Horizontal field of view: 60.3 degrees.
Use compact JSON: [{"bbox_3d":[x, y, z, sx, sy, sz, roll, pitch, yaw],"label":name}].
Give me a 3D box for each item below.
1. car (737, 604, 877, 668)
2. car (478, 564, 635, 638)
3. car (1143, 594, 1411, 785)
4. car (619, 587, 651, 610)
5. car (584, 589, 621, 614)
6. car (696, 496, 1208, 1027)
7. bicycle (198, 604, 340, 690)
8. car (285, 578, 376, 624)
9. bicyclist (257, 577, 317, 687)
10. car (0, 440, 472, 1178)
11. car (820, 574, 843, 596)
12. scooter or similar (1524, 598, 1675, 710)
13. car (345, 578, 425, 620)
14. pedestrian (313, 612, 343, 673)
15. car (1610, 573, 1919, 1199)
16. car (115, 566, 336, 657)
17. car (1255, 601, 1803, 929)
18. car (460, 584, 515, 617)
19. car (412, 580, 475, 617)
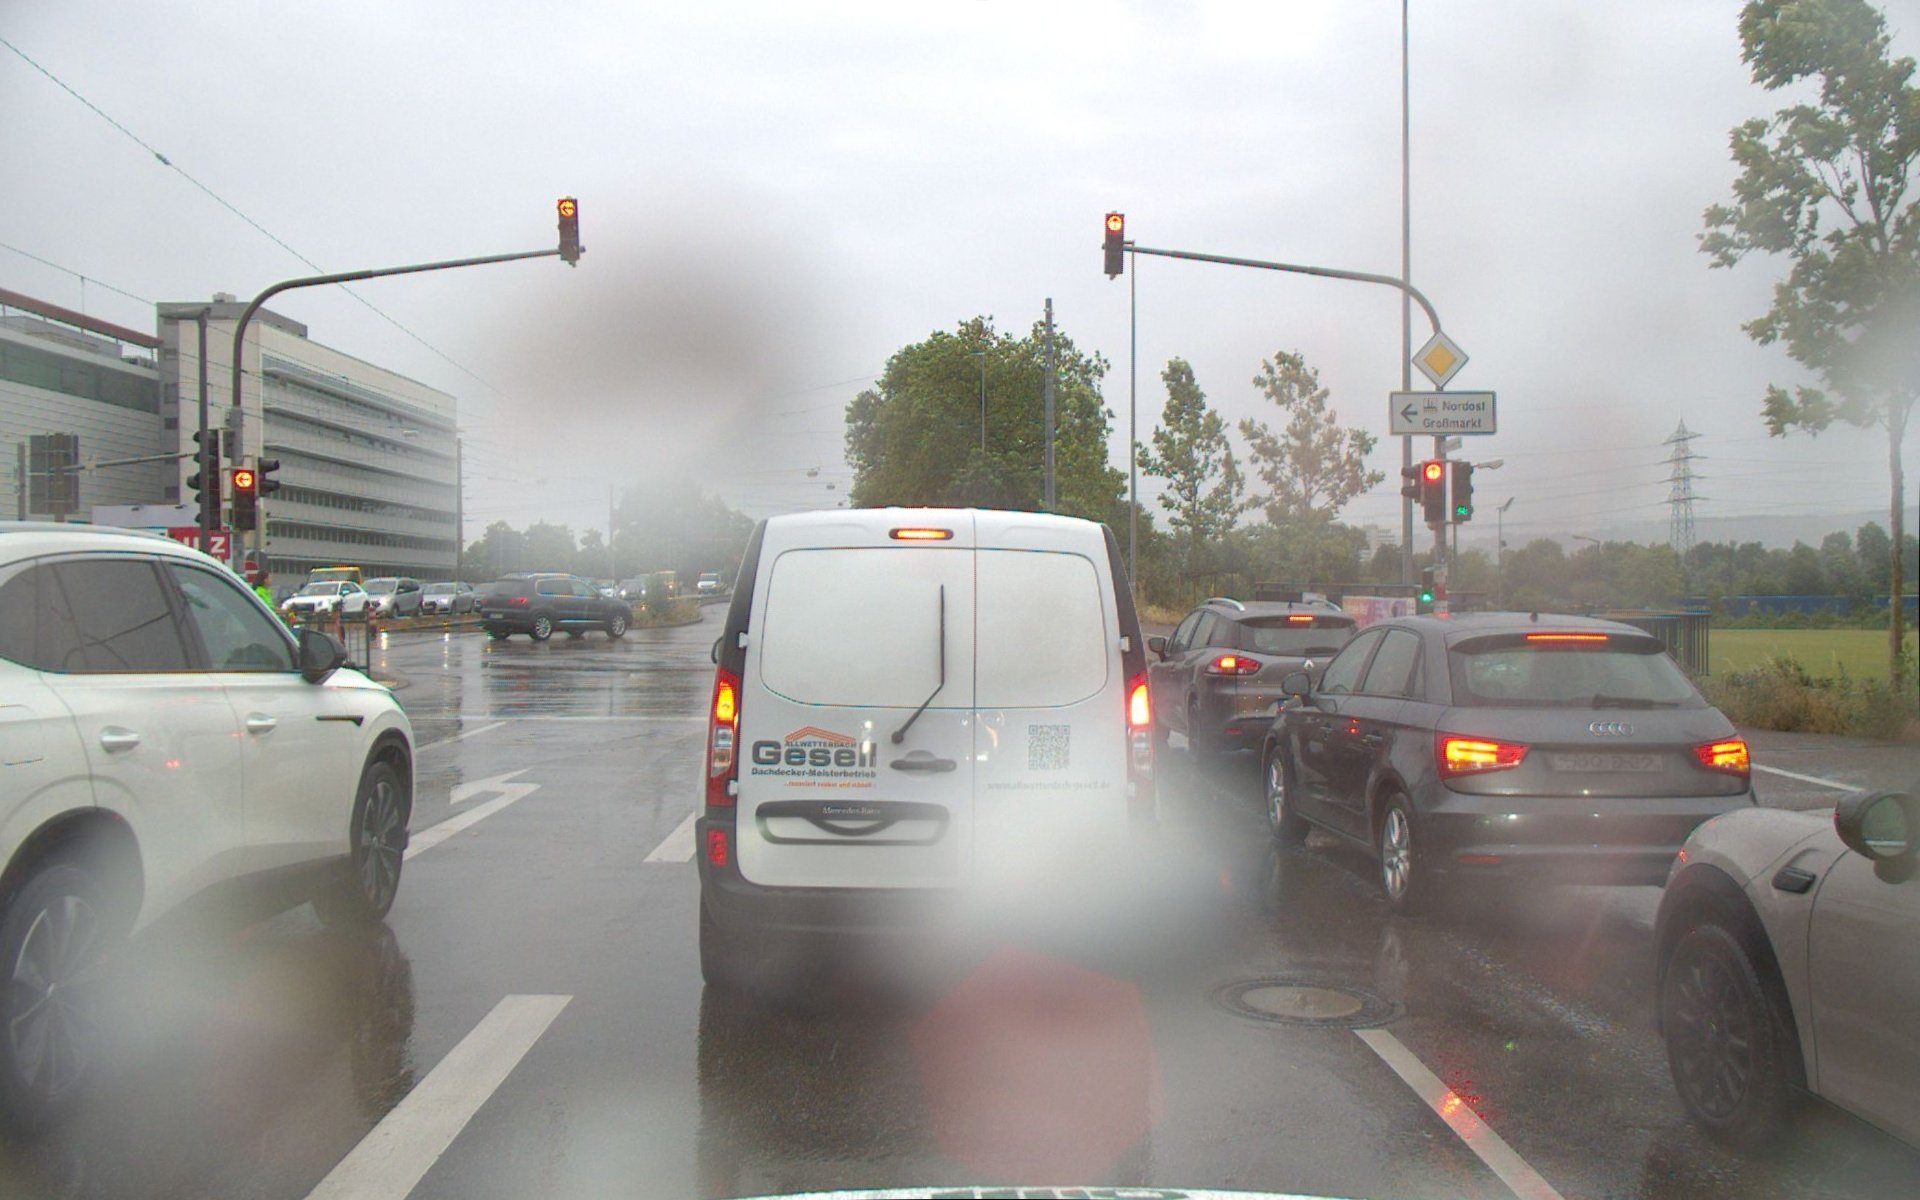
[{"bbox_3d":[-3.742,0.909,40.982,1.502,1.422,3.790,4,0,29],"label":"car"},{"bbox_3d":[-10.429,0.055,42.951,1.672,1.703,3.785,4,0,33],"label":"car"},{"bbox_3d":[2.827,0.738,15.573,1.650,1.534,3.919,1,0,-2],"label":"car"},{"bbox_3d":[-22.144,-0.071,112.795,1.528,1.451,3.568,2,-1,-1],"label":"car"},{"bbox_3d":[-21.924,0.105,101.508,1.528,1.451,3.568,2,-1,-1],"label":"car"},{"bbox_3d":[-0.166,0.518,7.690,1.719,1.780,4.166,1,1,-4],"label":"car"},{"bbox_3d":[-9.640,0.653,23.124,1.745,1.157,0.512,1,0,-43],"label":"bicycle"},{"bbox_3d":[-21.583,0.050,56.846,1.676,1.451,3.808,2,-1,-1],"label":"car"},{"bbox_3d":[-9.473,0.441,23.291,0.600,1.517,0.591,2,0,-41],"label":"bicyclist"},{"bbox_3d":[-3.309,0.494,5.706,1.891,1.806,4.663,1,0,-1],"label":"car"},{"bbox_3d":[-11.186,-1.285,144.338,1.909,1.691,4.460,2,-1,-4],"label":"car"},{"bbox_3d":[7.641,0.601,19.941,0.676,1.232,3.020,0,0,0],"label":"scooter or similar"},{"bbox_3d":[-21.761,-0.014,62.749,1.676,1.451,3.808,2,-1,-1],"label":"car"},{"bbox_3d":[-9.693,0.644,25.368,0.309,0.913,0.380,2,0,-3],"label":"pedestrian"},{"bbox_3d":[2.917,0.752,3.226,1.668,1.534,3.879,3,0,-1],"label":"car"},{"bbox_3d":[-13.836,0.220,31.378,3.677,1.533,1.640,2,0,-21],"label":"car"},{"bbox_3d":[2.796,0.743,8.986,1.565,1.390,3.628,-1,-1,-3],"label":"car"},{"bbox_3d":[-21.976,0.030,77.062,1.528,1.451,3.568,2,-1,-1],"label":"car"},{"bbox_3d":[-21.816,-0.034,69.984,1.528,1.451,3.568,2,-1,-1],"label":"car"}]
